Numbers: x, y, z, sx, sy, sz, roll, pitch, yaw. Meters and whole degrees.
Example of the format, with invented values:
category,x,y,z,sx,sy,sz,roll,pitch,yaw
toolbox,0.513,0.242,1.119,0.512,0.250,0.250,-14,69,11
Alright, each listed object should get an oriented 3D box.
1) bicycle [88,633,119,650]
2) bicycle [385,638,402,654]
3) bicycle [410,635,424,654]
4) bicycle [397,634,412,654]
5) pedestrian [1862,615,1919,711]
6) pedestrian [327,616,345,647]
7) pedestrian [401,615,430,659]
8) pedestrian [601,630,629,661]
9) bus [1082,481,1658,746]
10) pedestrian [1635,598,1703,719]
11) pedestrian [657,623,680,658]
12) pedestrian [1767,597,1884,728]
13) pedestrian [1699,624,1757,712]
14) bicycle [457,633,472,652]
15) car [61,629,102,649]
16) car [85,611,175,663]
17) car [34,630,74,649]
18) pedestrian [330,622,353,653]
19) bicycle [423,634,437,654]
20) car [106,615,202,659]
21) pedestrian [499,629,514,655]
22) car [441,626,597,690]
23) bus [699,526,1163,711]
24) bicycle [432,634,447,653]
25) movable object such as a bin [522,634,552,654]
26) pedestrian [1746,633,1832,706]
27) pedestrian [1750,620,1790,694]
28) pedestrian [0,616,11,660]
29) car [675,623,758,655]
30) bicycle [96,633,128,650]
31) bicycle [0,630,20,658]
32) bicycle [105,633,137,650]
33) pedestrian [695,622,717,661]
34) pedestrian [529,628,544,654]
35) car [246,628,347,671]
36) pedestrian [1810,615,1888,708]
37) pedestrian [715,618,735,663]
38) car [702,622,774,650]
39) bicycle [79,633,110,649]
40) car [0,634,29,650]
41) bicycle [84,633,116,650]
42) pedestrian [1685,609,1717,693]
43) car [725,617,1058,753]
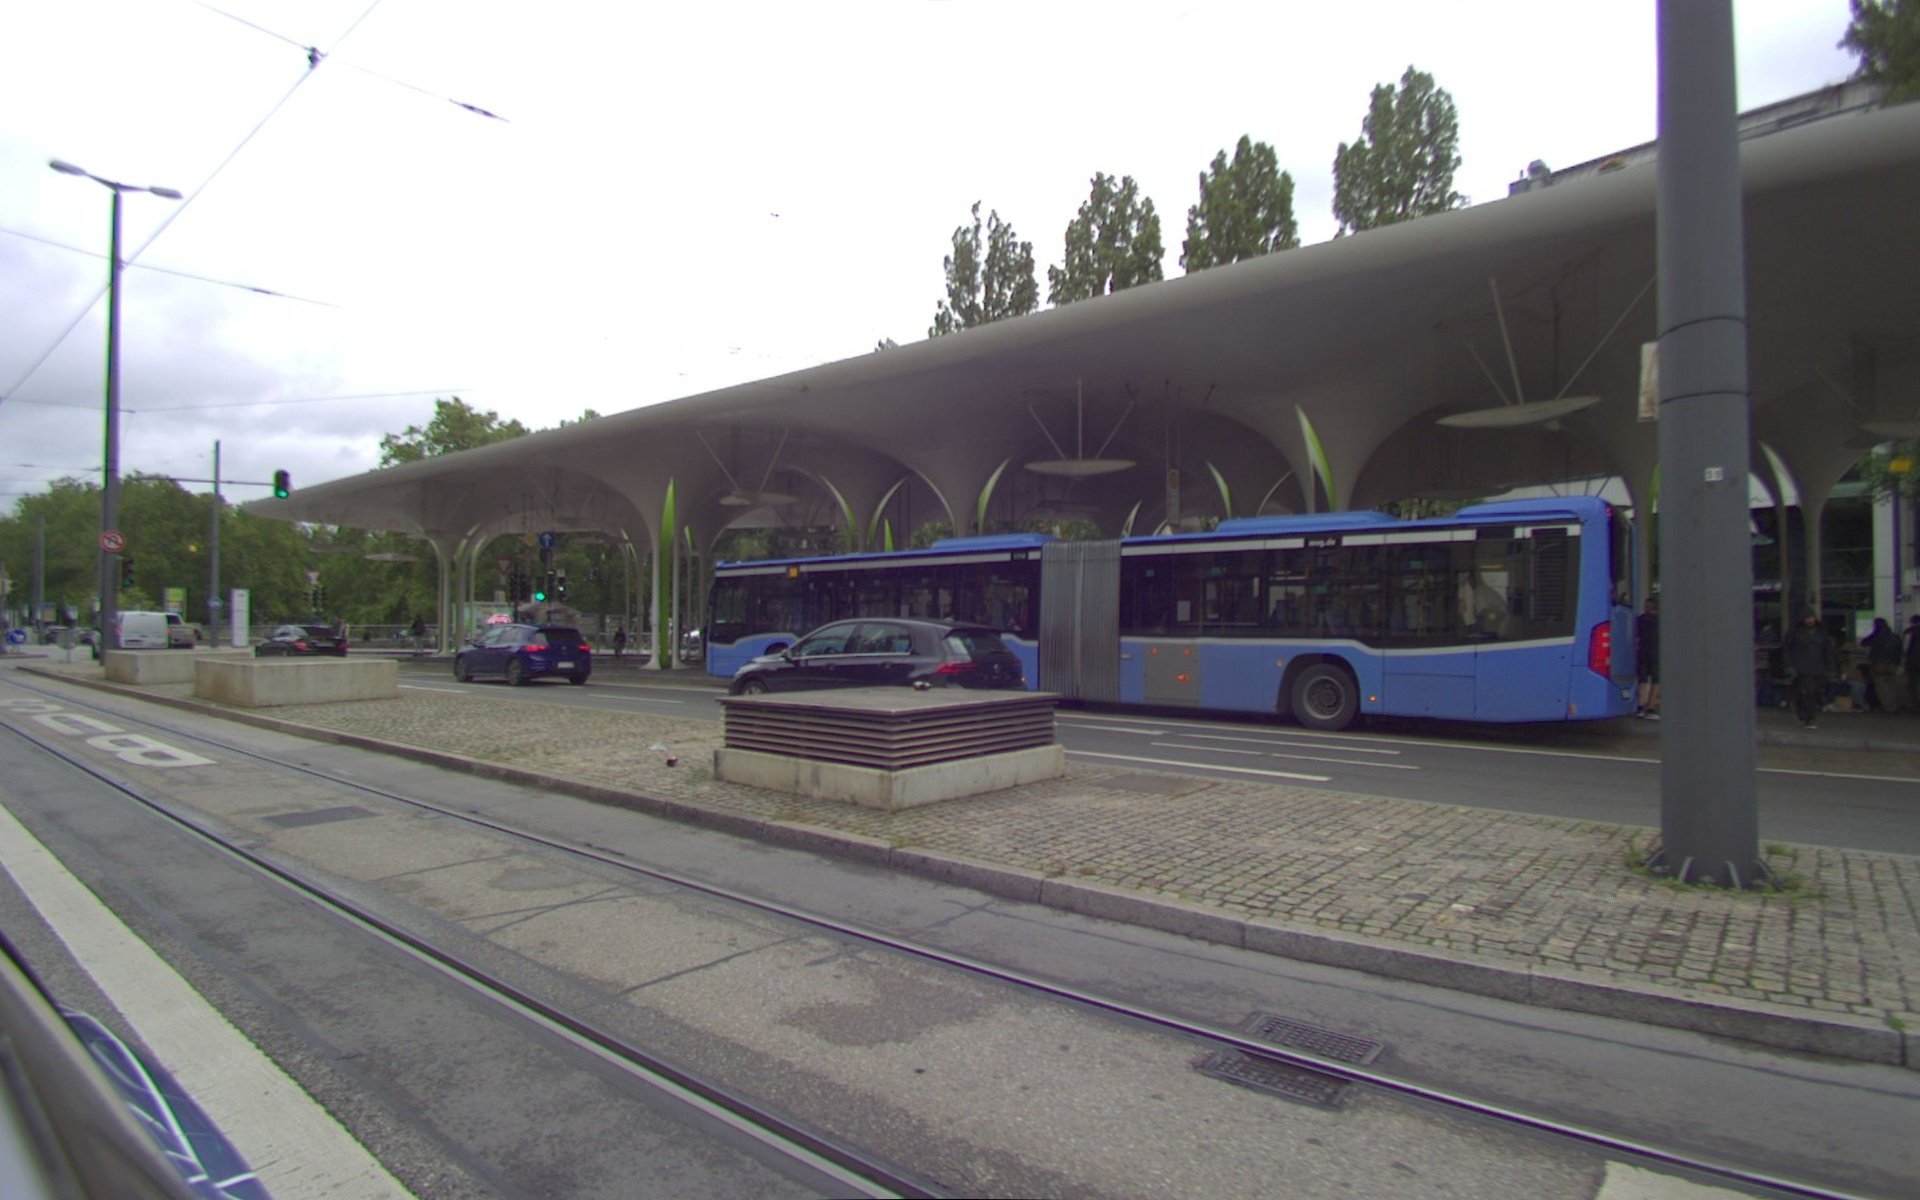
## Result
category,x,y,z,sx,sy,sz,roll,pitch,yaw
bicycle,-62.044,2.992,73.328,0.504,1.181,1.675,-1,-2,31
bicycle,-32.397,2.626,57.875,0.473,0.901,1.852,1,-2,-41
bicycle,-31.475,2.569,58.611,0.472,1.104,1.854,1,-2,-35
bicycle,-31.966,2.520,58.213,0.472,1.104,1.853,1,-2,-38
pedestrian,15.829,1.046,17.121,0.655,1.595,0.499,0,-2,-7
pedestrian,-35.075,1.772,56.886,0.725,1.729,0.862,1,-2,-38
pedestrian,-22.991,1.545,42.733,0.801,1.853,0.664,0,-2,8
pedestrian,-14.067,1.857,41.249,0.799,1.239,1.274,1,-2,-30
bus,5.665,0.292,15.081,7.511,3.031,2.632,-2,-4,42
pedestrian,10.208,0.823,14.593,0.746,1.687,0.624,-1,-2,33
pedestrian,-17.309,2.381,60.163,0.988,2.029,1.029,1,-2,-40
pedestrian,11.718,0.827,13.743,0.834,1.694,0.968,-1,-2,16
pedestrian,16.576,1.436,21.842,0.994,1.841,0.841,1,-2,-45
bicycle,-29.439,2.508,60.100,0.472,1.104,1.854,1,-2,-35
car,-68.387,3.033,78.749,4.230,1.537,1.840,-2,-3,41
car,-31.498,1.387,38.372,4.213,1.869,1.768,-1,-3,39
car,-76.238,3.312,85.129,4.099,1.582,1.973,-2,-2,41
pedestrian,-32.806,1.970,53.677,0.737,1.641,0.734,-1,-2,20
bicycle,-30.948,2.553,59.063,0.472,1.104,1.854,1,-2,-35
car,-37.000,1.697,46.404,6.150,1.902,2.153,-1,-3,39
pedestrian,-27.859,2.578,62.194,0.728,1.612,0.799,1,-2,-34
car,-10.568,1.325,24.117,4.228,1.406,1.661,-1,-3,39
bus,-1.125,0.463,20.986,10.506,3.031,2.633,-1,-4,40
bicycle,-30.548,2.541,59.394,0.472,1.104,1.854,1,-2,-35
movable object such as a bin,-24.474,2.536,58.517,0.956,1.092,1.319,-2,-2,41
pedestrian,15.427,1.282,18.862,0.867,1.327,0.839,0,-1,-3
pedestrian,18.054,1.264,22.557,0.536,1.615,0.615,-1,-2,25
pedestrian,-40.054,1.564,41.866,0.890,1.825,0.855,0,0,19
car,-15.499,2.487,64.526,4.852,1.962,1.874,1,-2,-39
bicycle,-61.213,2.969,73.037,0.560,1.181,1.675,-1,-2,31
bicycle,-40.304,1.853,41.782,0.502,1.159,2.217,0,0,19
bicycle,-60.108,2.939,72.540,0.560,1.181,1.675,-1,-2,31
pedestrian,-10.087,1.648,40.230,0.633,1.557,0.589,-1,-2,23
pedestrian,-26.459,2.536,63.218,0.728,1.612,0.799,1,-2,-34
car,-22.936,1.665,34.926,4.609,1.389,1.656,-1,-2,40
pedestrian,15.499,1.054,17.656,0.860,1.595,0.551,0,-2,-7
pedestrian,-9.110,1.557,39.191,0.661,1.741,0.813,1,-2,-20
car,-13.577,2.181,61.909,3.937,1.628,1.833,1,-2,-41
bicycle,-63.820,3.039,74.654,0.504,1.181,1.674,-1,-2,34
car,-92.364,4.069,98.655,3.998,1.542,1.868,-2,-3,41
bicycle,-62.783,3.011,73.897,0.560,1.181,1.675,-1,-2,31
pedestrian,17.508,1.201,23.922,0.418,1.947,0.481,-1,-2,13
car,-0.955,0.943,12.659,4.031,1.427,1.824,-1,-2,40
